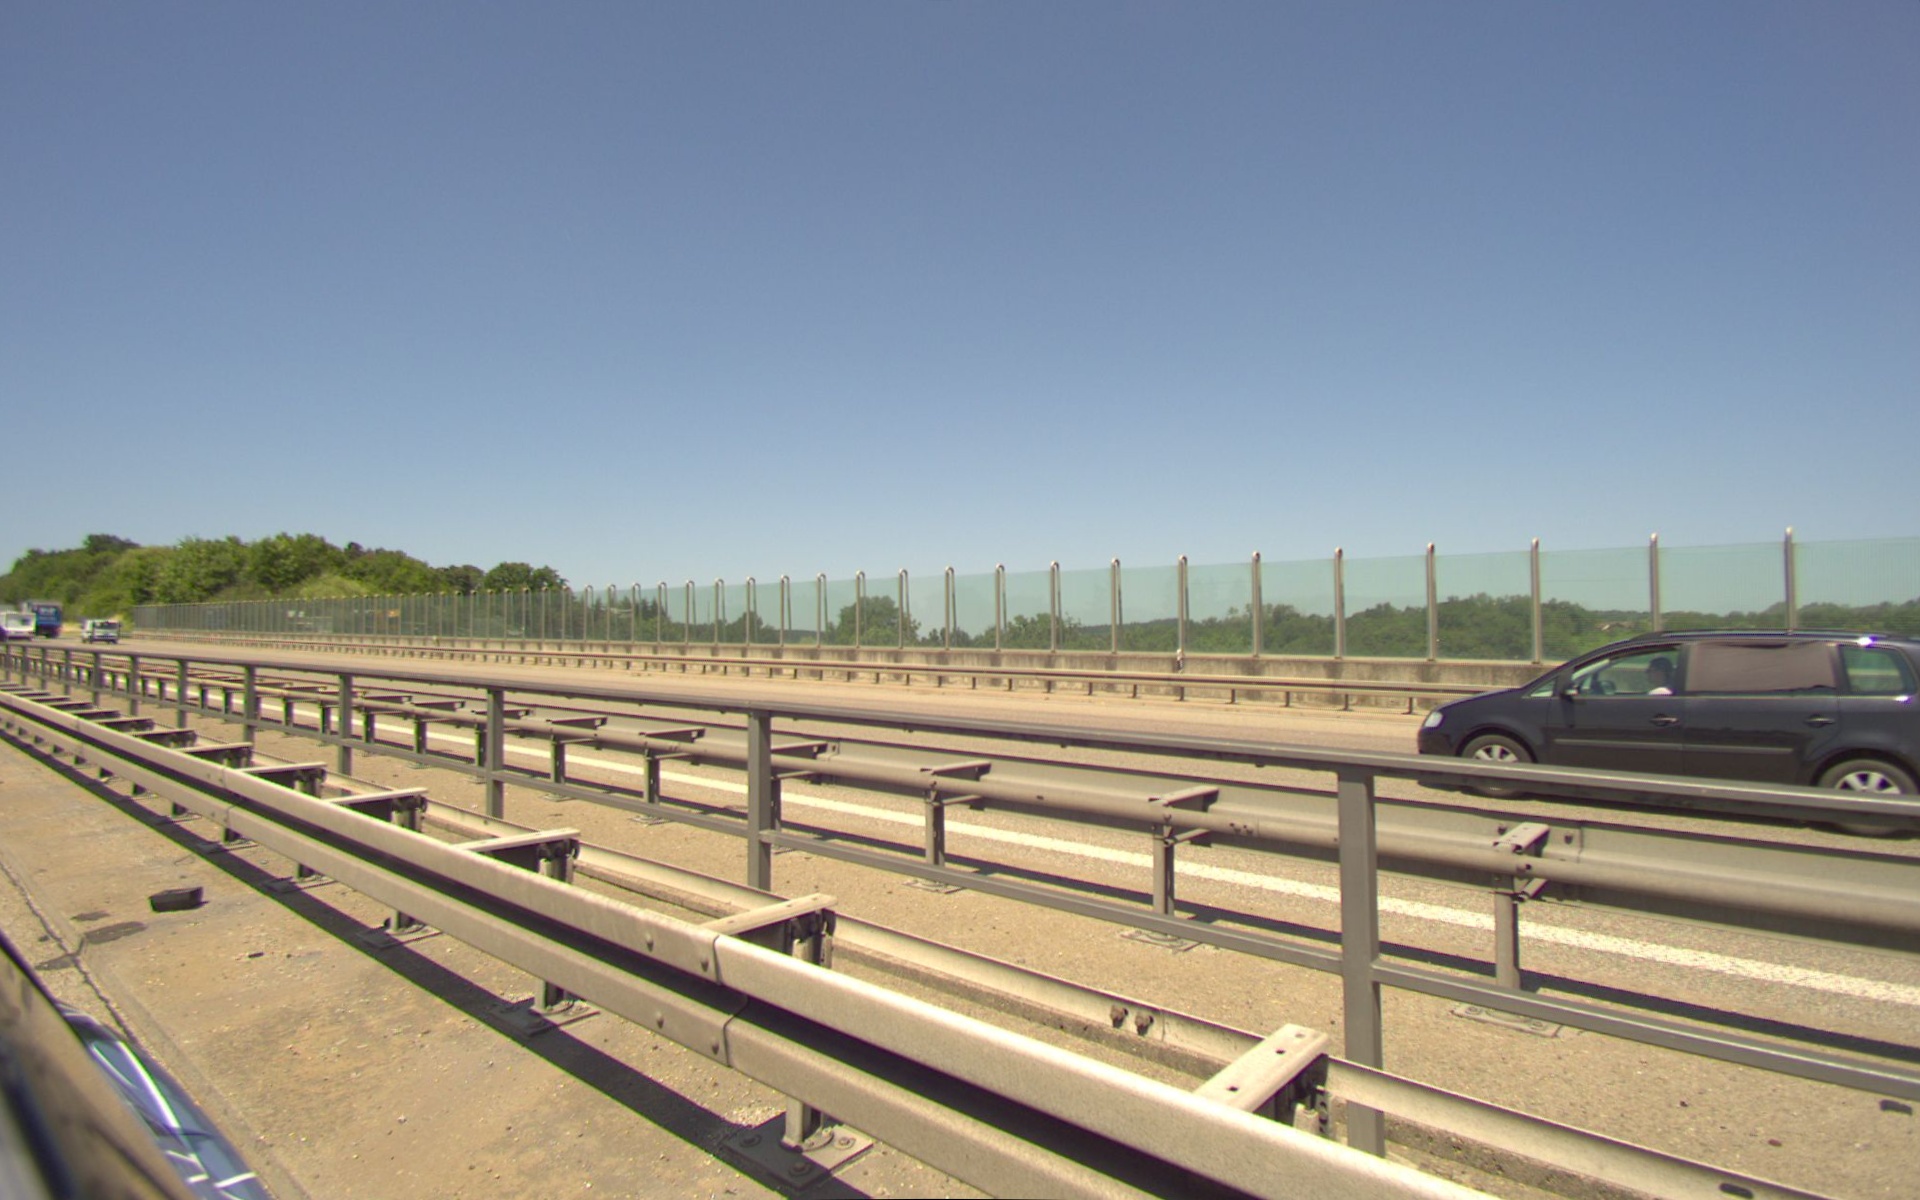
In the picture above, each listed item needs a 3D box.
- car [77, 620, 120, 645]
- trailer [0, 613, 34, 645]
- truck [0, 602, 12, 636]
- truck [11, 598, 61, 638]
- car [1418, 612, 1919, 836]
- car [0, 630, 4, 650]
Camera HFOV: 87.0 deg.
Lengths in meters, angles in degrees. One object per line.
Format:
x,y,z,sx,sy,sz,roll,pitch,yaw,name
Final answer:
-72.223,2.730,84.833,4.487,1.999,2.013,-2,-4,41,car
-84.610,2.597,90.140,6.357,2.727,2.292,-1,-4,41,trailer
-132.661,2.569,138.805,9.986,4.575,2.839,-1,-4,42,truck
-99.983,1.979,109.453,9.986,4.117,2.839,-1,-4,42,truck
6.727,1.004,9.349,4.183,1.685,1.973,-1,-4,40,car
-69.196,2.810,71.652,4.264,1.430,1.749,-1,-3,41,car
